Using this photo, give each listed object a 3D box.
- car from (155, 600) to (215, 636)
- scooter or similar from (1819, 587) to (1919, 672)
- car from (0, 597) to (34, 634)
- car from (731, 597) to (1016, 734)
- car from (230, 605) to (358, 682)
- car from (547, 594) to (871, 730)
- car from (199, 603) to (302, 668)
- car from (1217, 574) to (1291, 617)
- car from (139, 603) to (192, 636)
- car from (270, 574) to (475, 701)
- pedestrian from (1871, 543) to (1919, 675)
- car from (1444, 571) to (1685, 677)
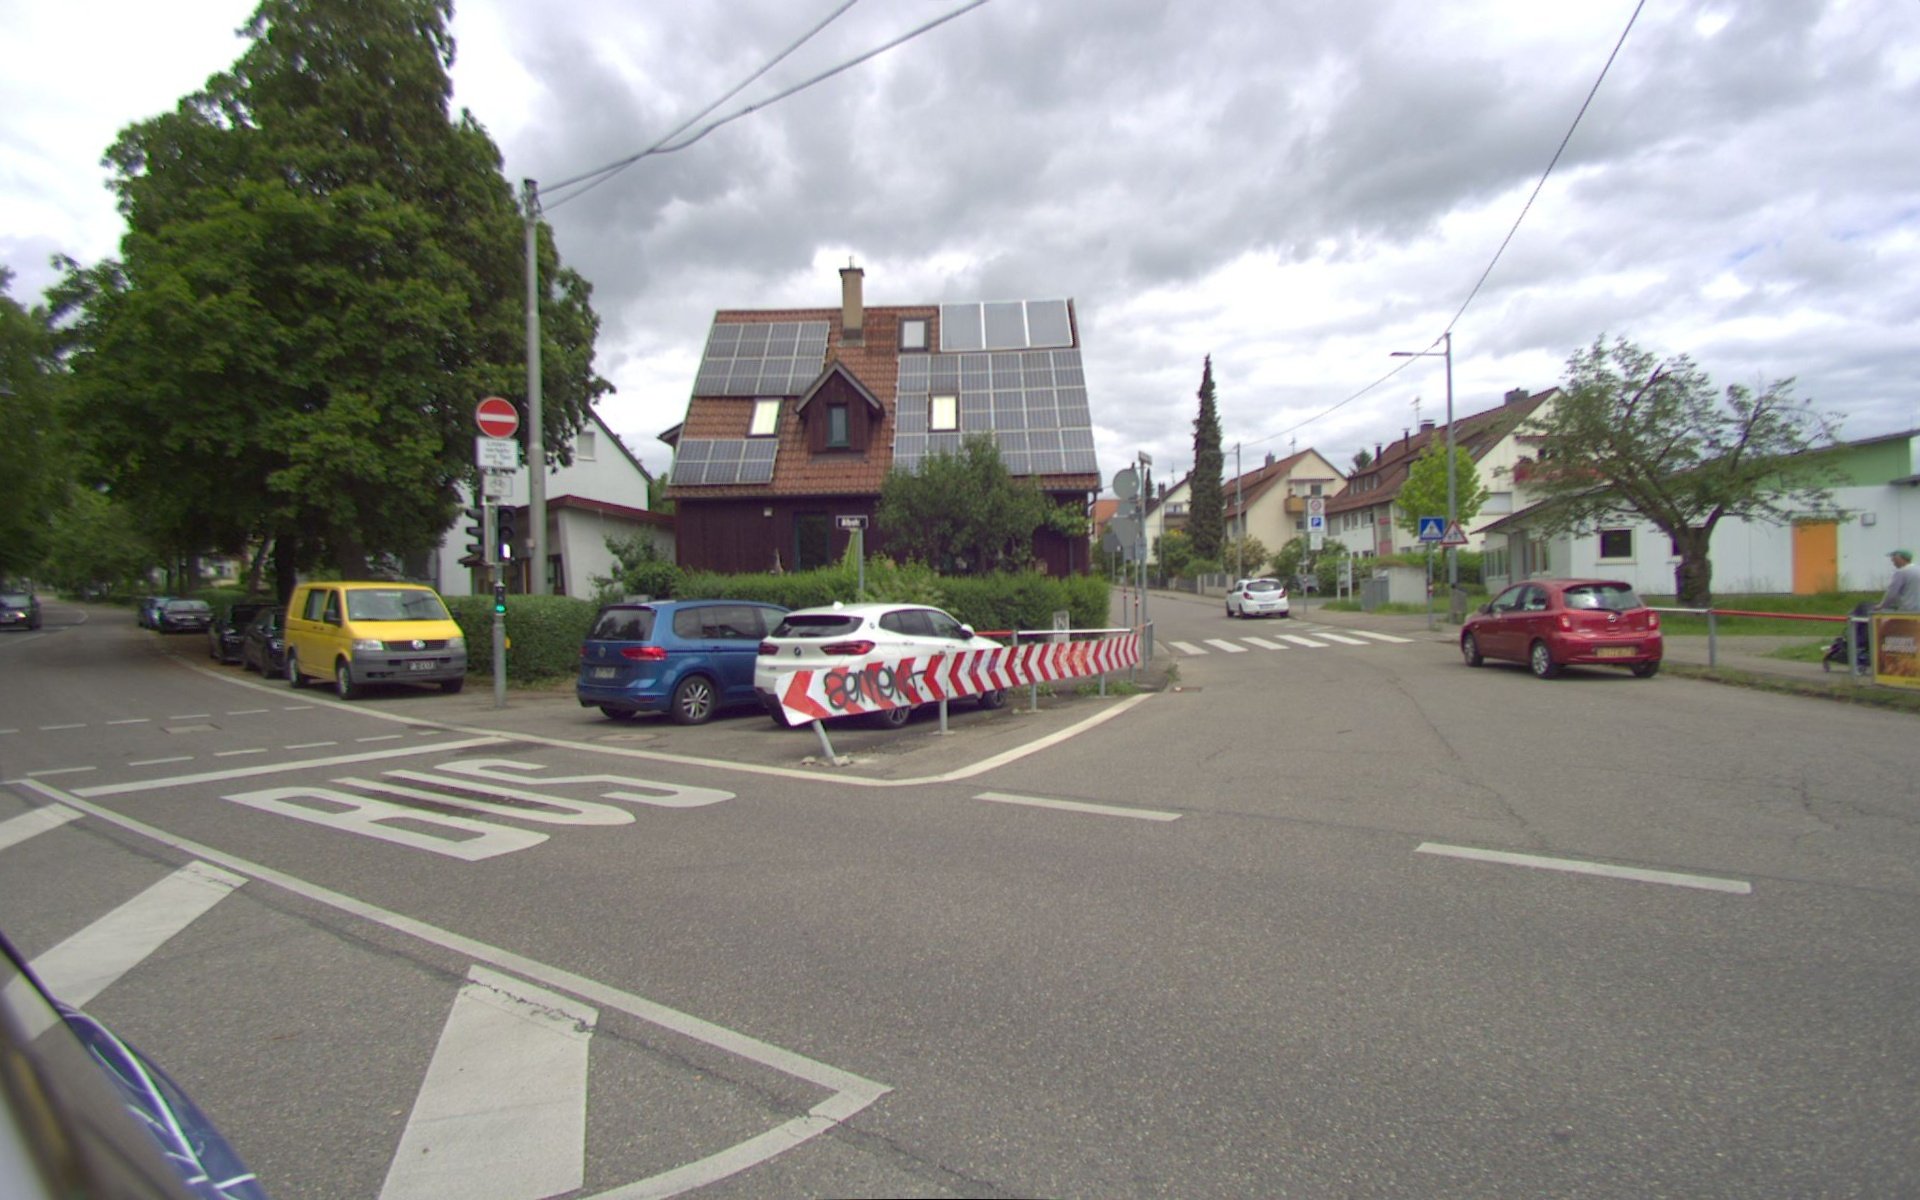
[{"bbox_3d":[-31.856,0.716,41.528,1.824,1.386,4.602,-1,0,-39],"label":"car"},{"bbox_3d":[12.538,0.394,13.973,0.604,1.103,0.889,-1,2,2],"label":"scooter or similar"},{"bbox_3d":[-43.797,0.695,46.072,1.967,1.607,4.009,-1,1,-36],"label":"car"},{"bbox_3d":[-0.970,0.737,13.343,1.838,1.483,3.864,-2,0,30],"label":"car"},{"bbox_3d":[-14.826,0.882,22.424,1.724,1.461,4.519,-1,1,-42],"label":"car"},{"bbox_3d":[-3.346,0.743,14.152,1.843,1.558,4.125,-2,0,38],"label":"car"},{"bbox_3d":[-18.275,0.839,25.975,1.723,1.461,4.600,-1,1,-41],"label":"car"},{"bbox_3d":[11.015,-0.164,38.173,1.751,1.501,3.682,-1,0,2],"label":"car"},{"bbox_3d":[-35.962,0.854,45.788,1.613,1.386,4.157,-1,0,-42],"label":"car"},{"bbox_3d":[-10.696,0.584,18.258,4.800,2.004,1.895,0,1,43],"label":"car"},{"bbox_3d":[12.498,0.099,13.071,0.680,1.665,0.830,-1,2,2],"label":"pedestrian"},{"bbox_3d":[9.654,0.351,16.536,1.751,1.501,3.682,-1,0,2],"label":"car"}]
